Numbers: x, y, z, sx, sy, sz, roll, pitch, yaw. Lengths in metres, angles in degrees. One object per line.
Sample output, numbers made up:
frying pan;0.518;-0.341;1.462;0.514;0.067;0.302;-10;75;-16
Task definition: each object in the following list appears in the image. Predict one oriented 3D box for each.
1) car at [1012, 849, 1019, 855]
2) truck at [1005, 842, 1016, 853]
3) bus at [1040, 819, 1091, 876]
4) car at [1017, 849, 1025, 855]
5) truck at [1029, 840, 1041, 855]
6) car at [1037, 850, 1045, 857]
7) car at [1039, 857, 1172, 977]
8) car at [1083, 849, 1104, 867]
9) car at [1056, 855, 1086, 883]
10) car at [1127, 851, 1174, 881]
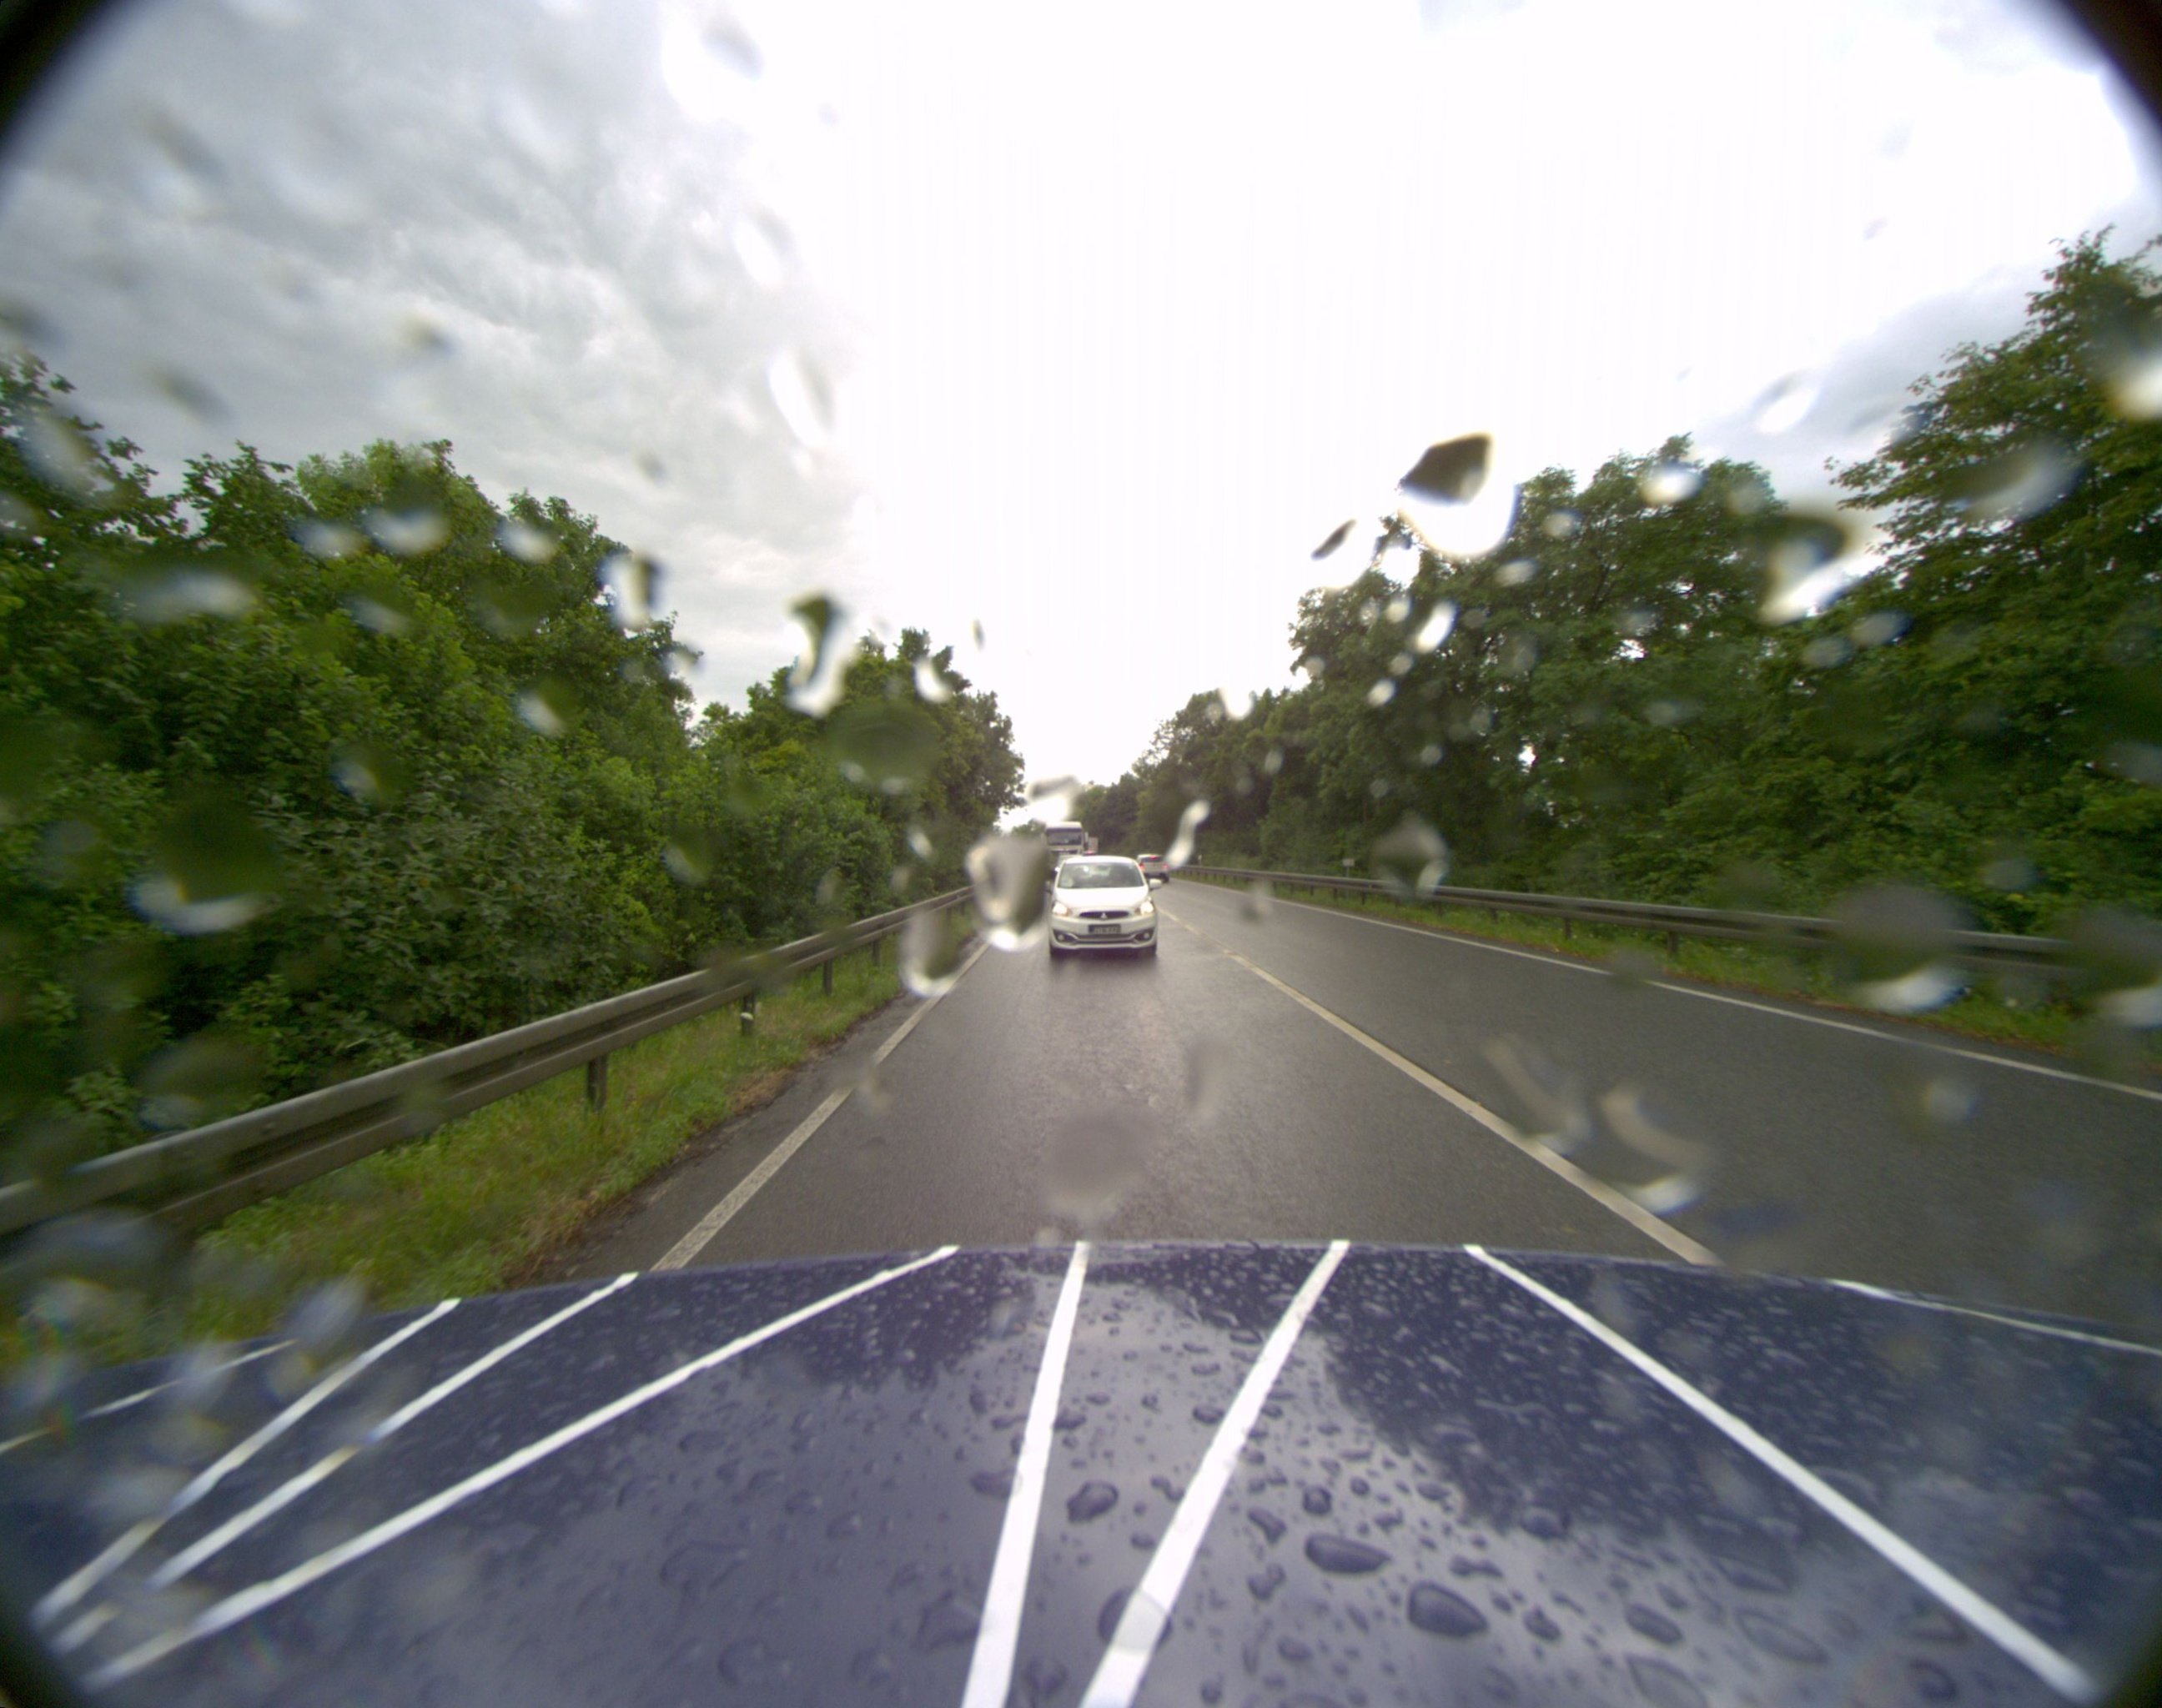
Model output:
car;-17.094;-0.504;197.941;1.535;1.459;3.072;-2;1;-9
truck;-19.957;-1.783;215.882;2.433;2.982;6.938;-2;1;-10
bus;-1.258;-0.429;53.694;3.064;3.405;13.636;-2;0;-3
car;-14.682;-0.440;186.211;1.535;1.459;3.072;-2;1;-9
truck;-9.468;-1.316;156.063;1.481;2.860;5.679;-2;0;-12
car;-7.222;-0.050;137.642;1.146;1.123;2.549;-2;0;-12
car;0.219;0.824;11.901;1.701;1.471;4.061;-2;0;-3
car;1.208;0.339;74.258;1.801;1.650;4.081;-2;0;-2
car;-0.559;0.773;40.235;1.476;1.410;3.428;-1;0;-2
car;3.566;0.574;39.486;1.820;1.445;4.046;-2;0;-3
